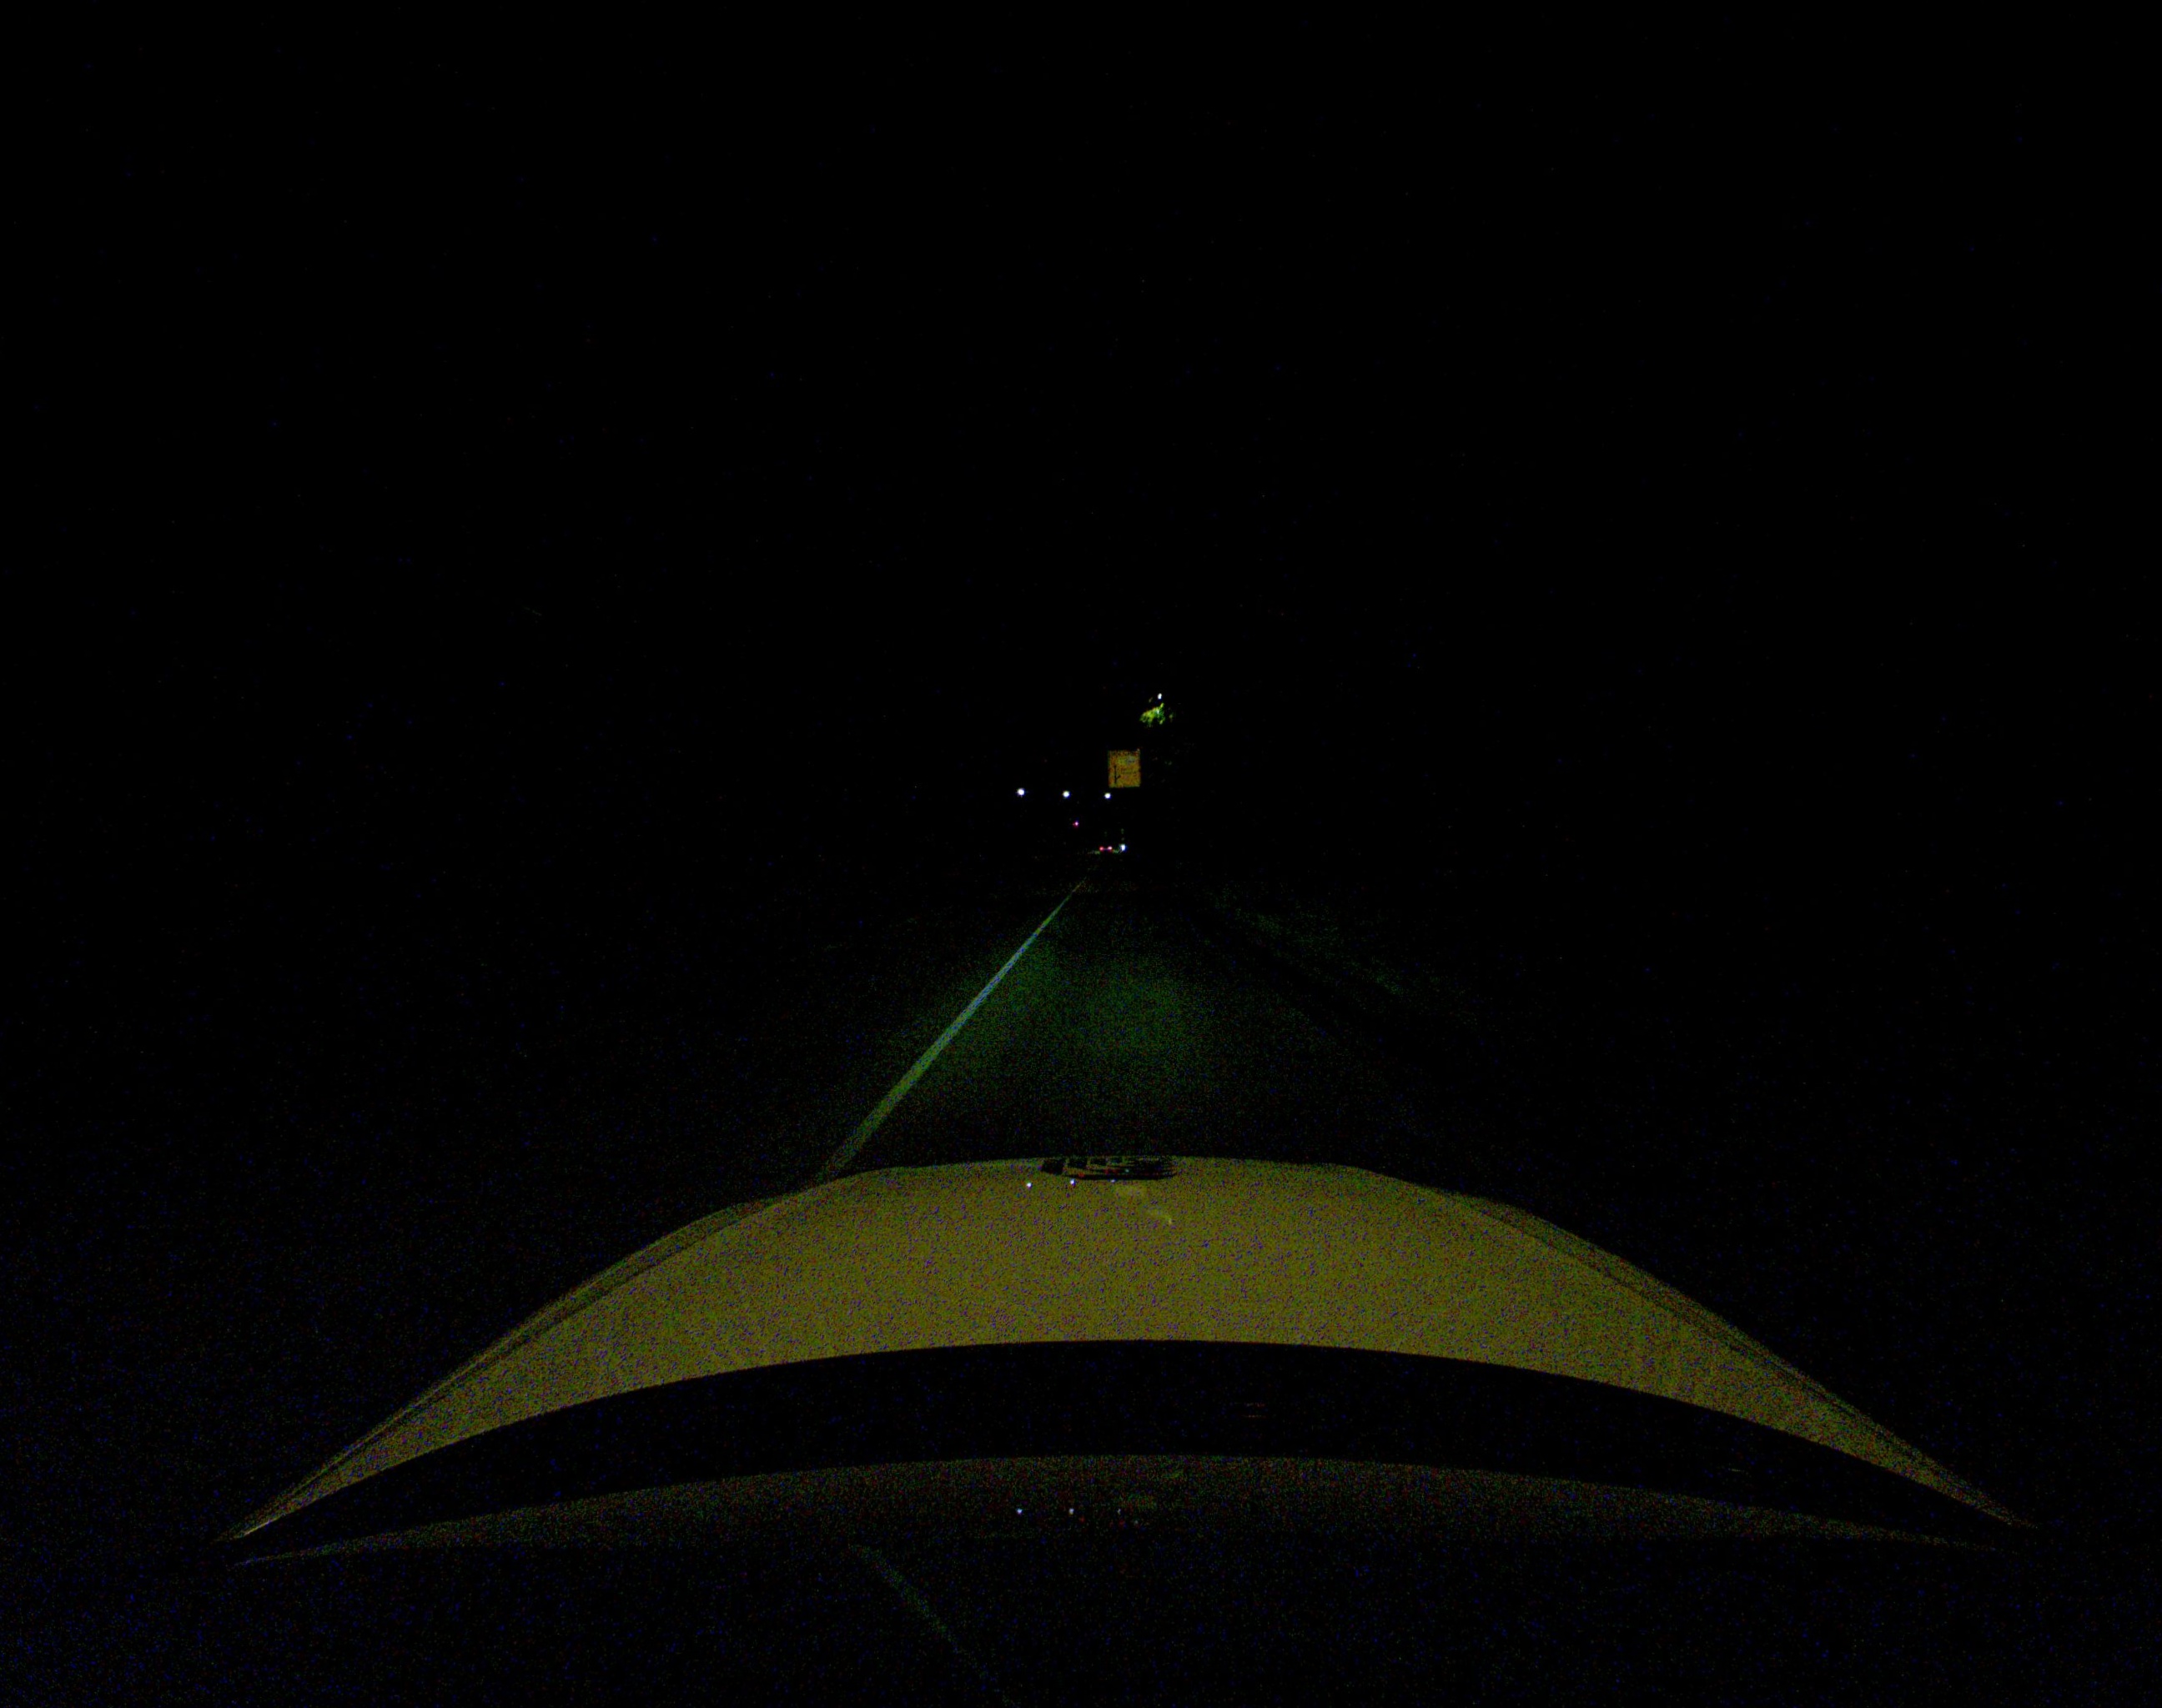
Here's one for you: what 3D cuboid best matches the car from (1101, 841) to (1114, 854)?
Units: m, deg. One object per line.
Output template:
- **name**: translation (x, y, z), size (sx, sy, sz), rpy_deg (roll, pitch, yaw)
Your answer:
- **car**: translation (4.133, -0.996, 125.879), size (1.911, 2.014, 4.124), rpy_deg (0, 0, 2)
